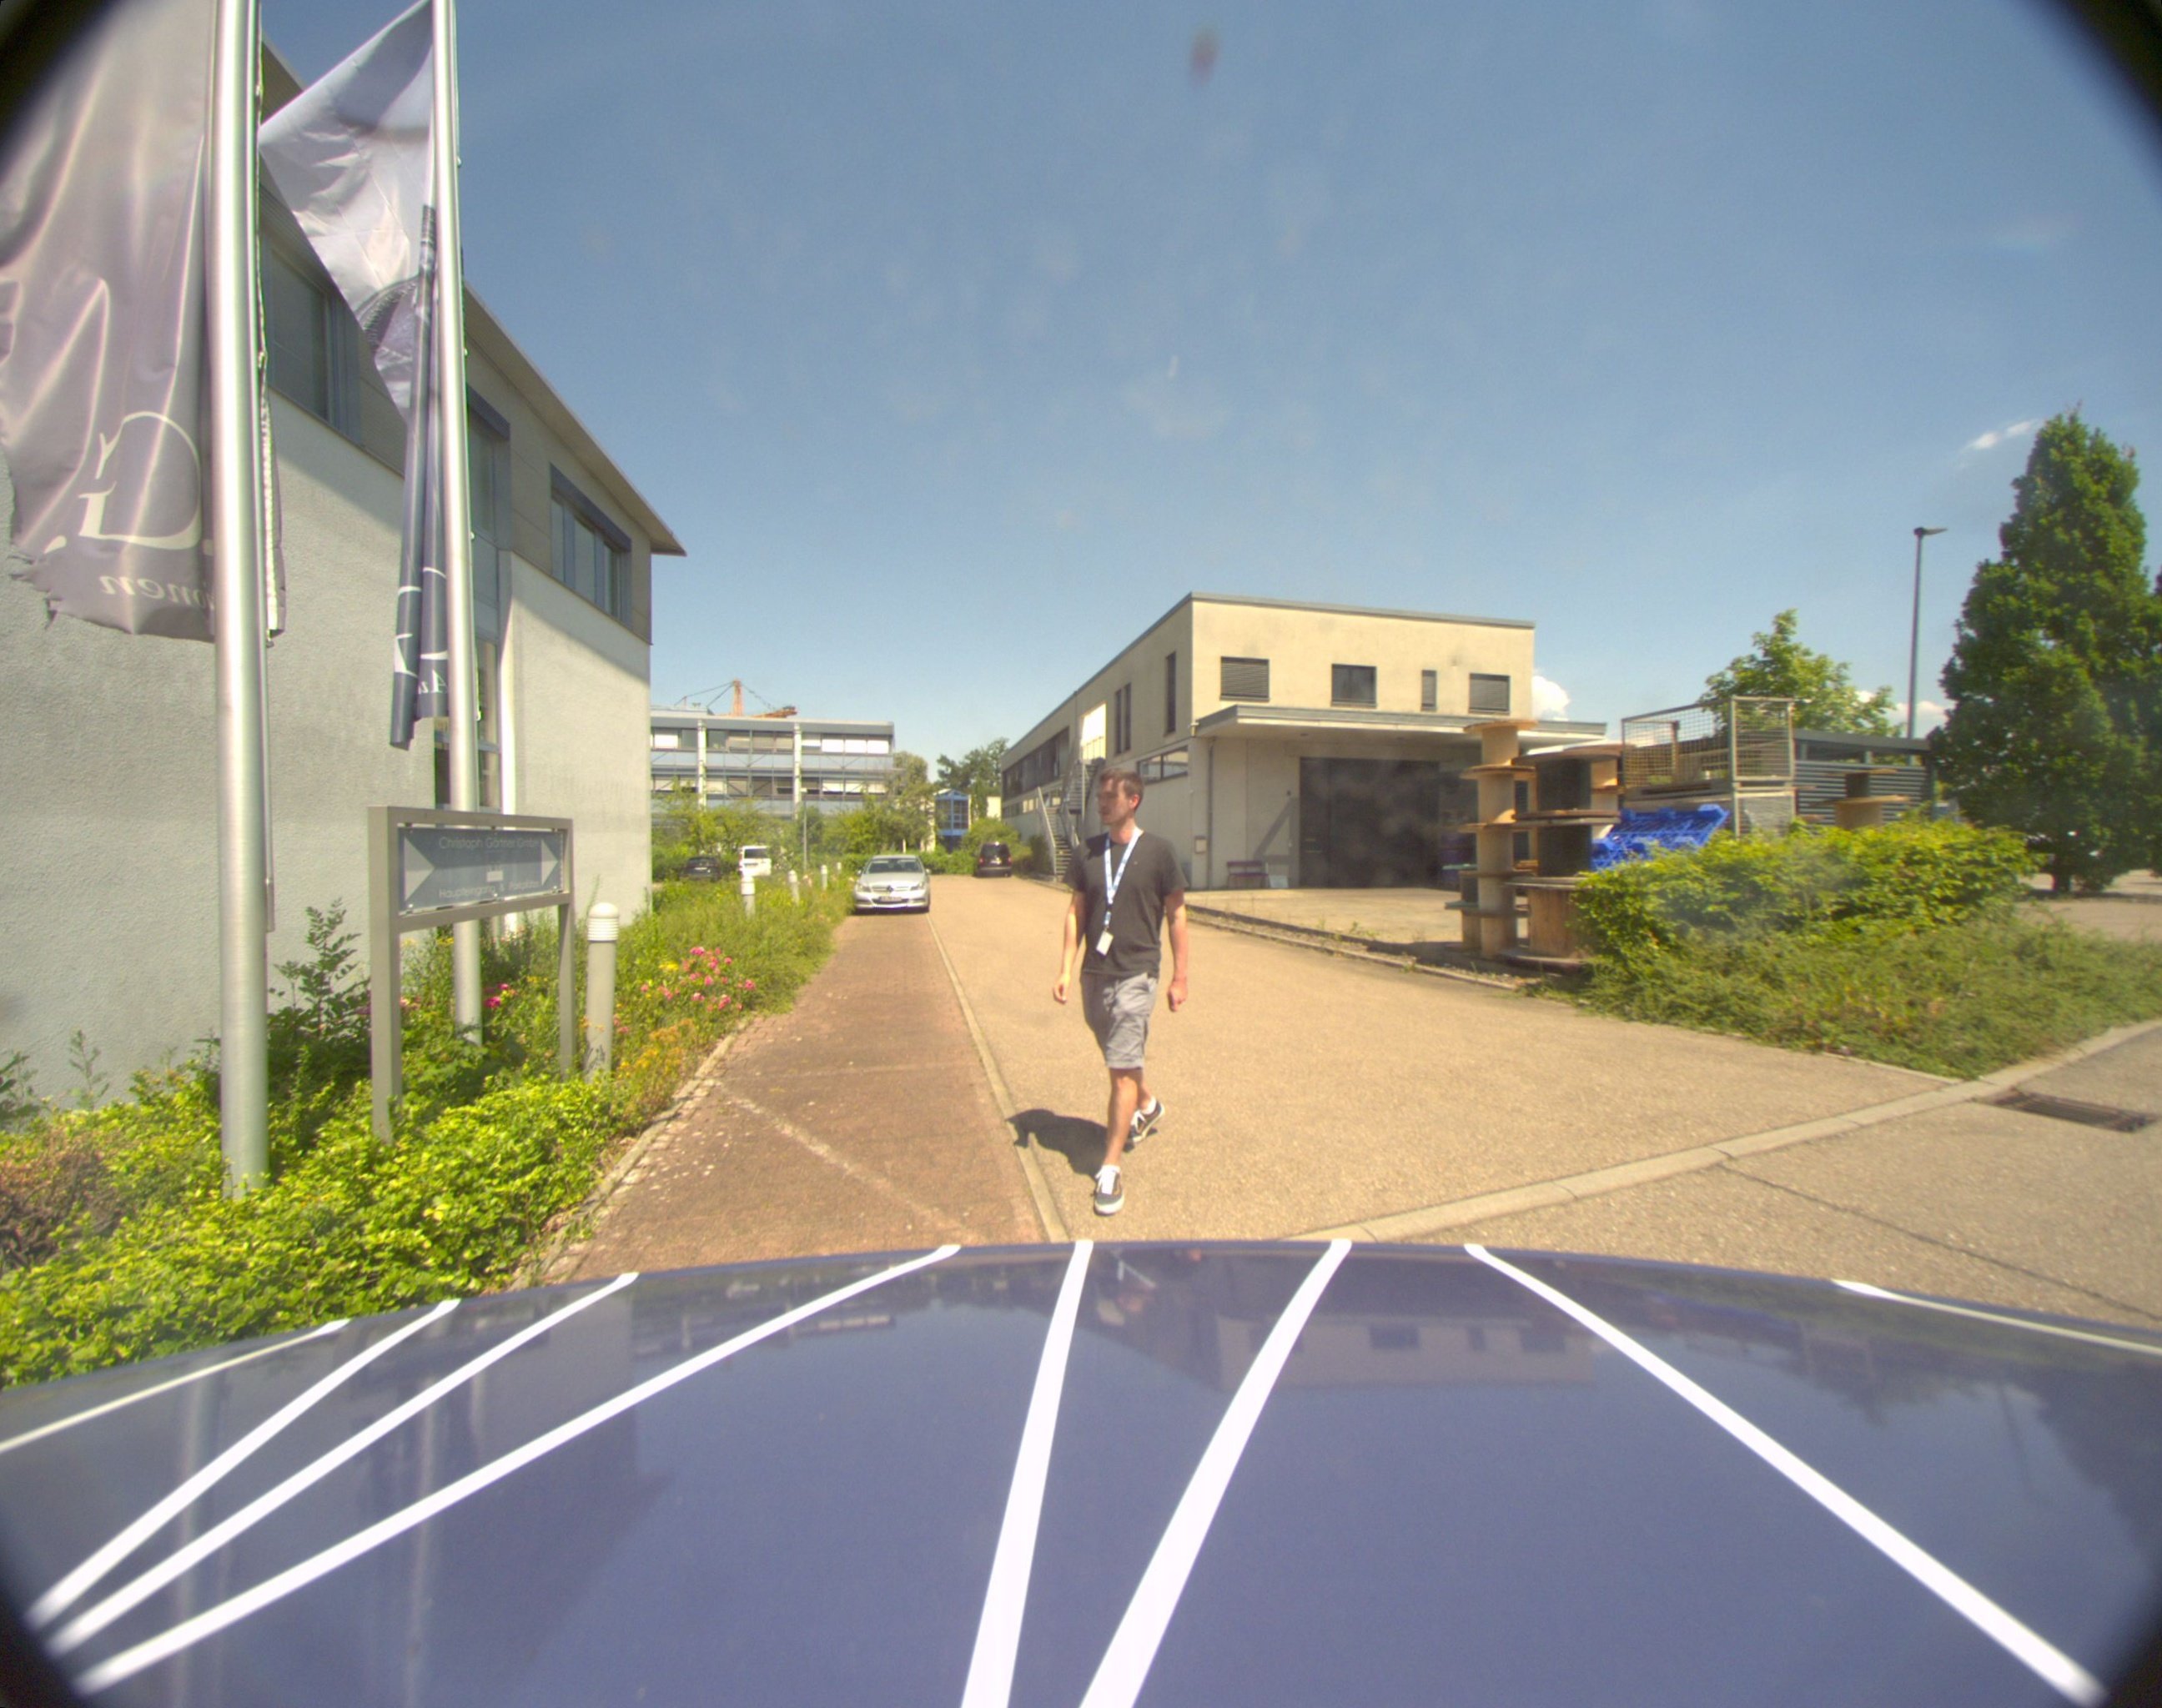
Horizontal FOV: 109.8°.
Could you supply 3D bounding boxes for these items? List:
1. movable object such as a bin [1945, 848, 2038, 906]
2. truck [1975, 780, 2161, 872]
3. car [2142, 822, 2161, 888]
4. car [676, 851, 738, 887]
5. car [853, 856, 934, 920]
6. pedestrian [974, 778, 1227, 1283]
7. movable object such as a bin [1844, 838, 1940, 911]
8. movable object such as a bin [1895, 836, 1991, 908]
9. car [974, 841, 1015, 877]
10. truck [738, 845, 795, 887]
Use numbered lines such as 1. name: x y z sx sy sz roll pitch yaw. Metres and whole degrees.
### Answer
1. movable object such as a bin: 17.755 0.434 14.838 0.988 1.078 0.759 -2 1 -9
2. truck: 31.685 -0.886 23.806 5.700 2.656 2.415 -2 1 -13
3. car: 25.667 0.029 15.558 1.958 1.505 4.259 -1 1 2
4. car: -18.215 0.702 37.176 1.789 1.537 3.994 -2 2 -13
5. car: -4.700 0.792 19.512 1.712 1.383 3.807 -1 1 -10
6. pedestrian: 0.144 0.637 3.241 0.859 1.809 0.905 -1 1 13
7. movable object such as a bin: 15.335 0.370 14.387 1.073 1.329 0.759 -2 2 -9
8. movable object such as a bin: 16.652 0.334 14.699 1.073 1.329 0.759 -2 2 -9
9. car: -4.664 0.228 40.719 1.789 1.793 3.995 -2 2 -11
10. truck: -15.296 0.508 37.169 2.001 1.883 3.994 -2 1 -15
